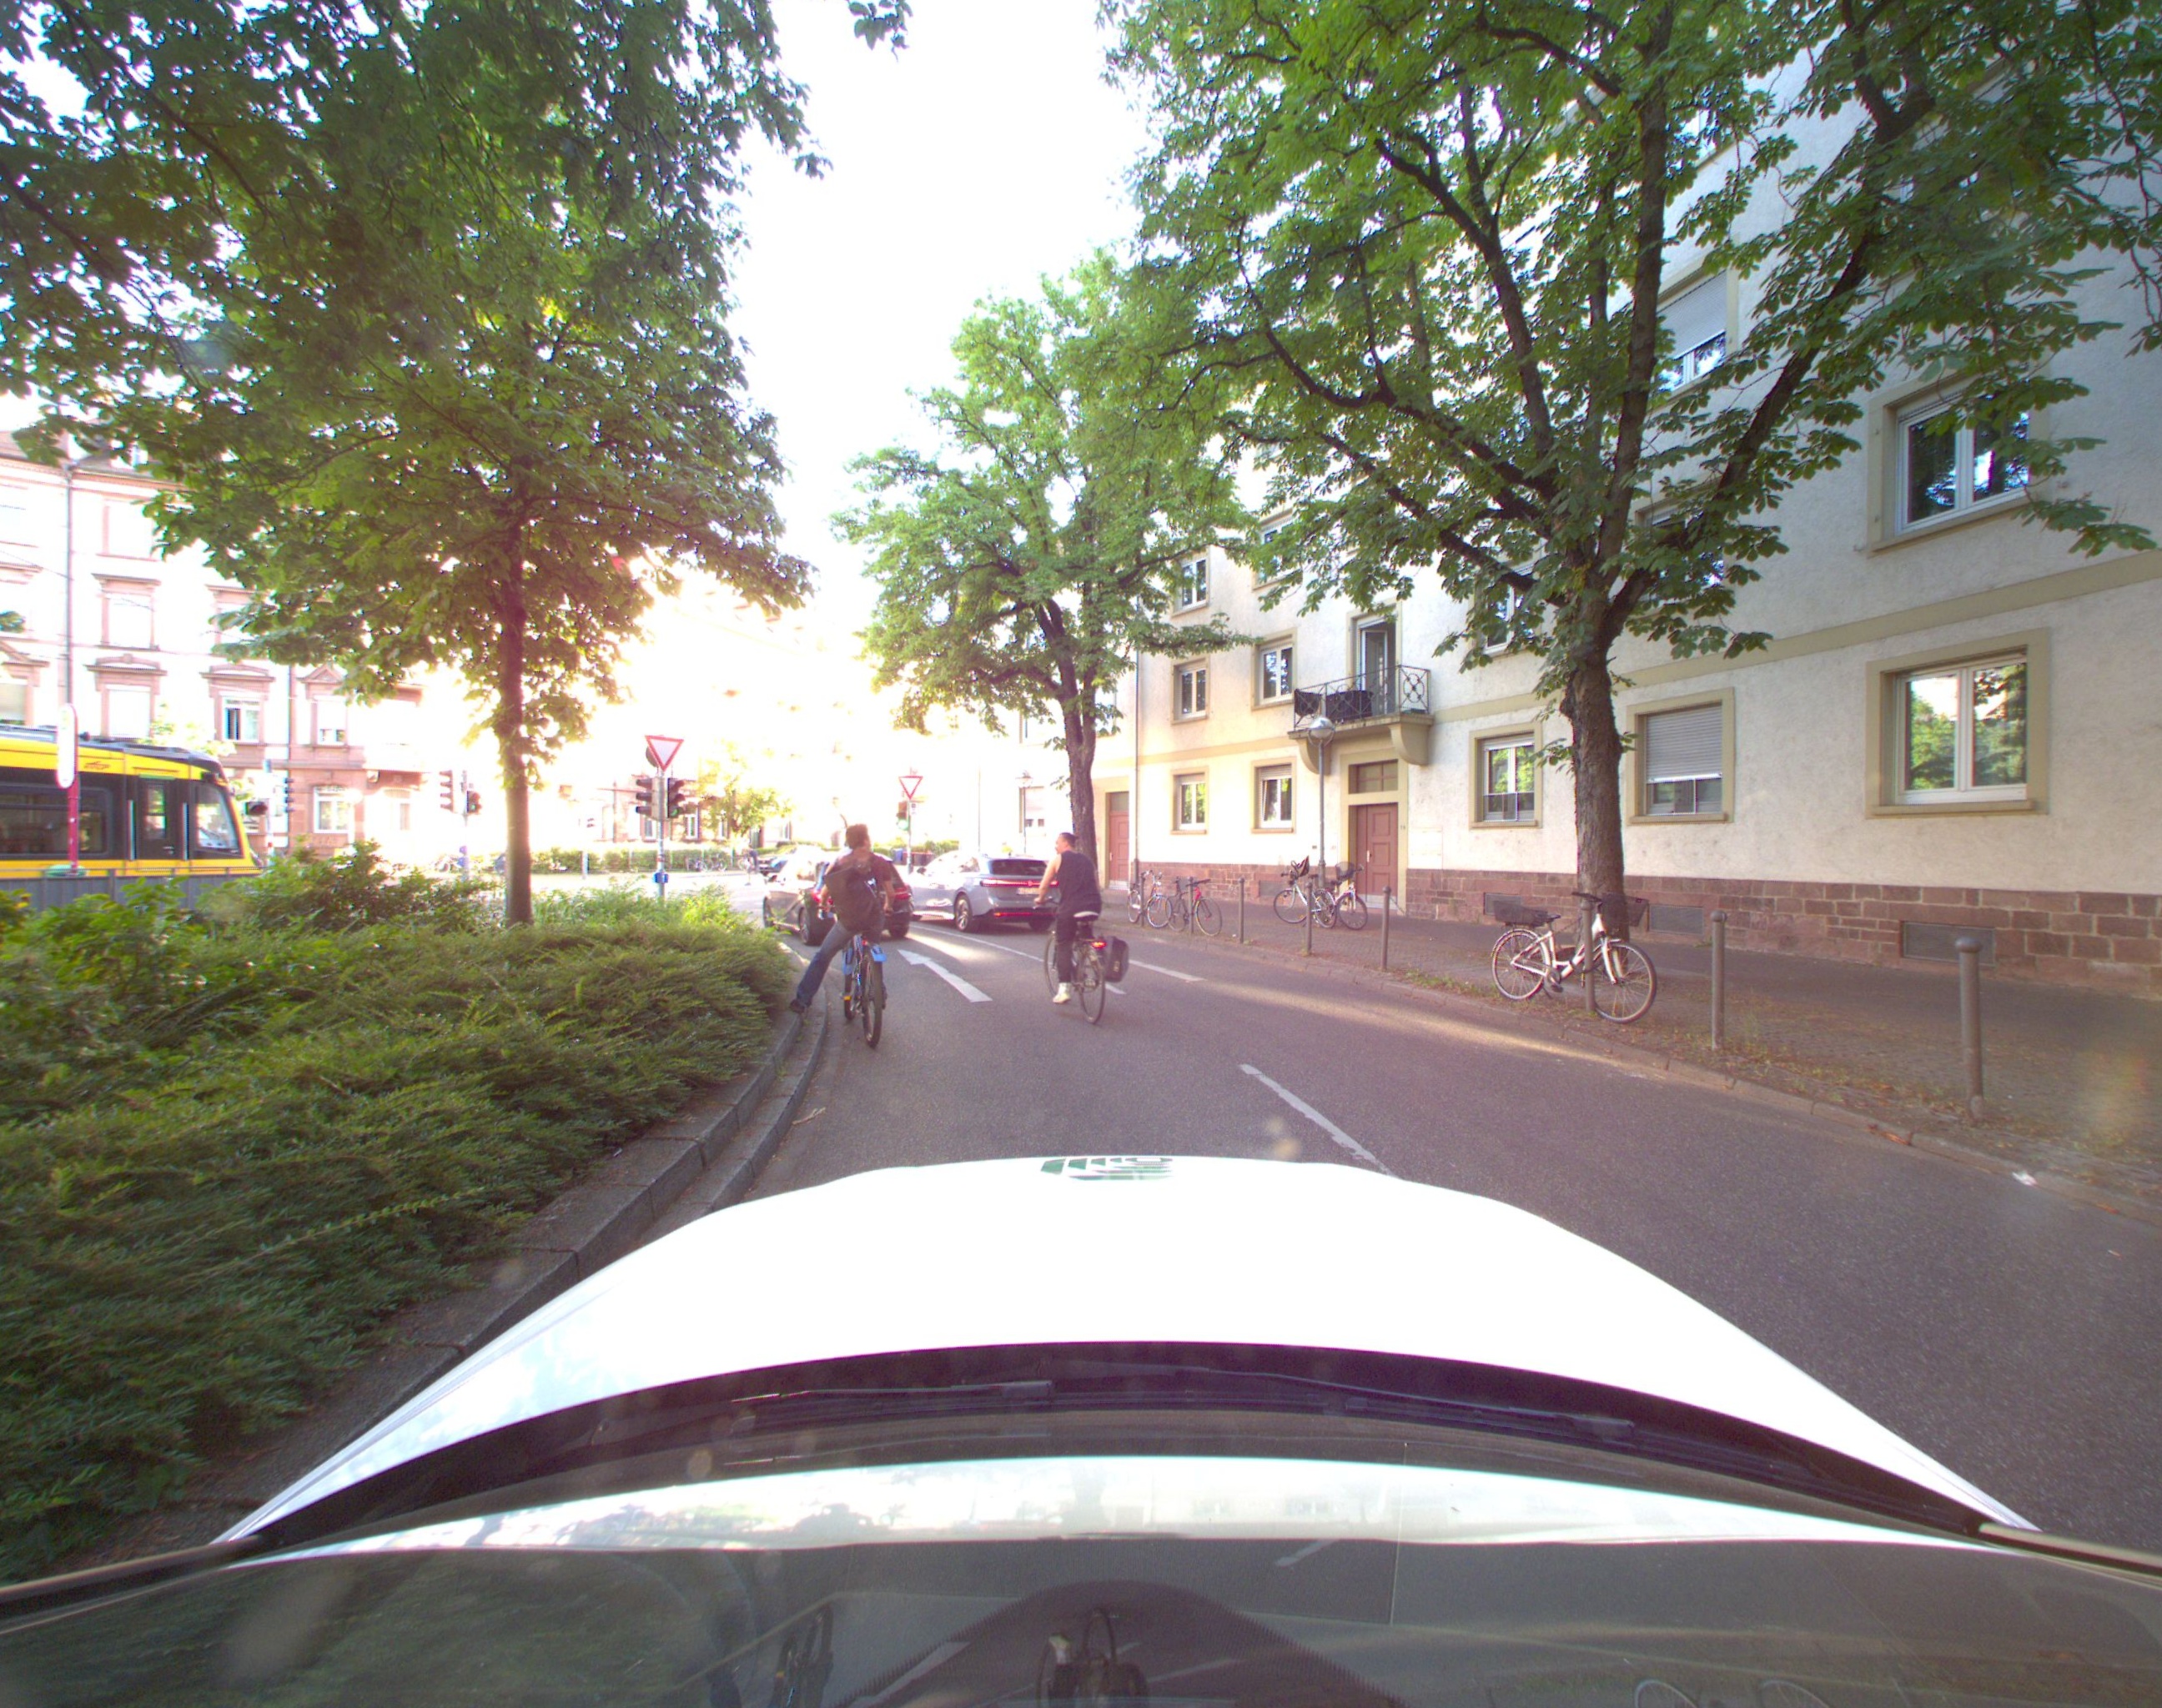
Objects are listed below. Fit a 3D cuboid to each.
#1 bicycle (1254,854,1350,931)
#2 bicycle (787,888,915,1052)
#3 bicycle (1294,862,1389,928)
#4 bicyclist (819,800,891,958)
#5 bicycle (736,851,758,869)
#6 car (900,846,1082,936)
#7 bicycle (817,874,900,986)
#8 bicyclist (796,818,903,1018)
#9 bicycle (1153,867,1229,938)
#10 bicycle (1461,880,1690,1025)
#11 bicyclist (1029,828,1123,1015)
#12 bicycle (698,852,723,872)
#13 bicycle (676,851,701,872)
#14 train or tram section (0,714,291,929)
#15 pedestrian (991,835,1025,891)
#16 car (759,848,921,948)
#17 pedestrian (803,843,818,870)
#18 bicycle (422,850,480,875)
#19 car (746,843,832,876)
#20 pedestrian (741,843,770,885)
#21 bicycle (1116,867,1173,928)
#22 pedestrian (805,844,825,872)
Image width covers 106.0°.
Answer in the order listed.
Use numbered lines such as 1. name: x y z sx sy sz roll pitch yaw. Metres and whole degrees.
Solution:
1. bicycle: 4.006 0.653 14.918 0.719 1.277 1.954 -1 1 -18
2. bicycle: -2.049 0.900 7.052 0.721 1.107 1.950 1 0 -26
3. bicycle: 4.717 0.710 14.918 0.669 1.107 1.955 1 0 -17
4. bicyclist: -2.901 0.300 10.414 0.797 1.913 0.938 1 0 -21
5. bicycle: -19.762 0.376 48.146 0.438 1.038 1.240 1 1 24
6. car: -2.004 0.669 16.777 1.983 1.585 4.430 2 -1 -32
7. bicycle: -2.867 0.877 10.319 0.813 1.184 2.211 0 0 -21
8. bicyclist: -2.011 0.504 7.020 0.710 1.573 0.948 1 0 -27
9. bicycle: 1.922 0.821 14.456 0.528 1.107 1.728 -3 2 -21
10. bicycle: 4.505 0.829 7.620 0.514 1.095 1.962 -2 1 -18
11. bicyclist: -0.072 0.594 7.783 0.687 1.656 0.985 -1 0 -13
12. bicycle: -20.795 0.437 45.736 0.438 1.107 1.241 1 1 25
13. bicycle: -21.422 0.406 44.447 0.438 1.107 1.241 1 1 25
14. train or tram section: -20.185 -0.556 12.279 2.769 3.619 11.857 1 0 19
15. pedestrian: -2.323 0.266 25.992 0.648 1.727 0.878 -3 2 -37
16. car: -4.560 0.697 15.027 1.802 1.542 3.819 -2 1 -33
17. pedestrian: -17.215 0.173 51.890 0.655 1.715 0.640 0 0 32
18. bicycle: -28.123 0.388 36.387 1.975 1.107 0.438 2 -1 -38
19. car: -15.611 0.256 43.791 1.926 1.650 4.433 0 0 21
20. pedestrian: -12.975 0.383 32.512 0.903 1.635 0.722 2 1 -13
21. bicycle: 1.234 0.820 16.101 0.482 1.063 1.625 -3 2 -20
22. pedestrian: -16.644 0.231 50.909 0.703 1.664 0.904 4 2 36
